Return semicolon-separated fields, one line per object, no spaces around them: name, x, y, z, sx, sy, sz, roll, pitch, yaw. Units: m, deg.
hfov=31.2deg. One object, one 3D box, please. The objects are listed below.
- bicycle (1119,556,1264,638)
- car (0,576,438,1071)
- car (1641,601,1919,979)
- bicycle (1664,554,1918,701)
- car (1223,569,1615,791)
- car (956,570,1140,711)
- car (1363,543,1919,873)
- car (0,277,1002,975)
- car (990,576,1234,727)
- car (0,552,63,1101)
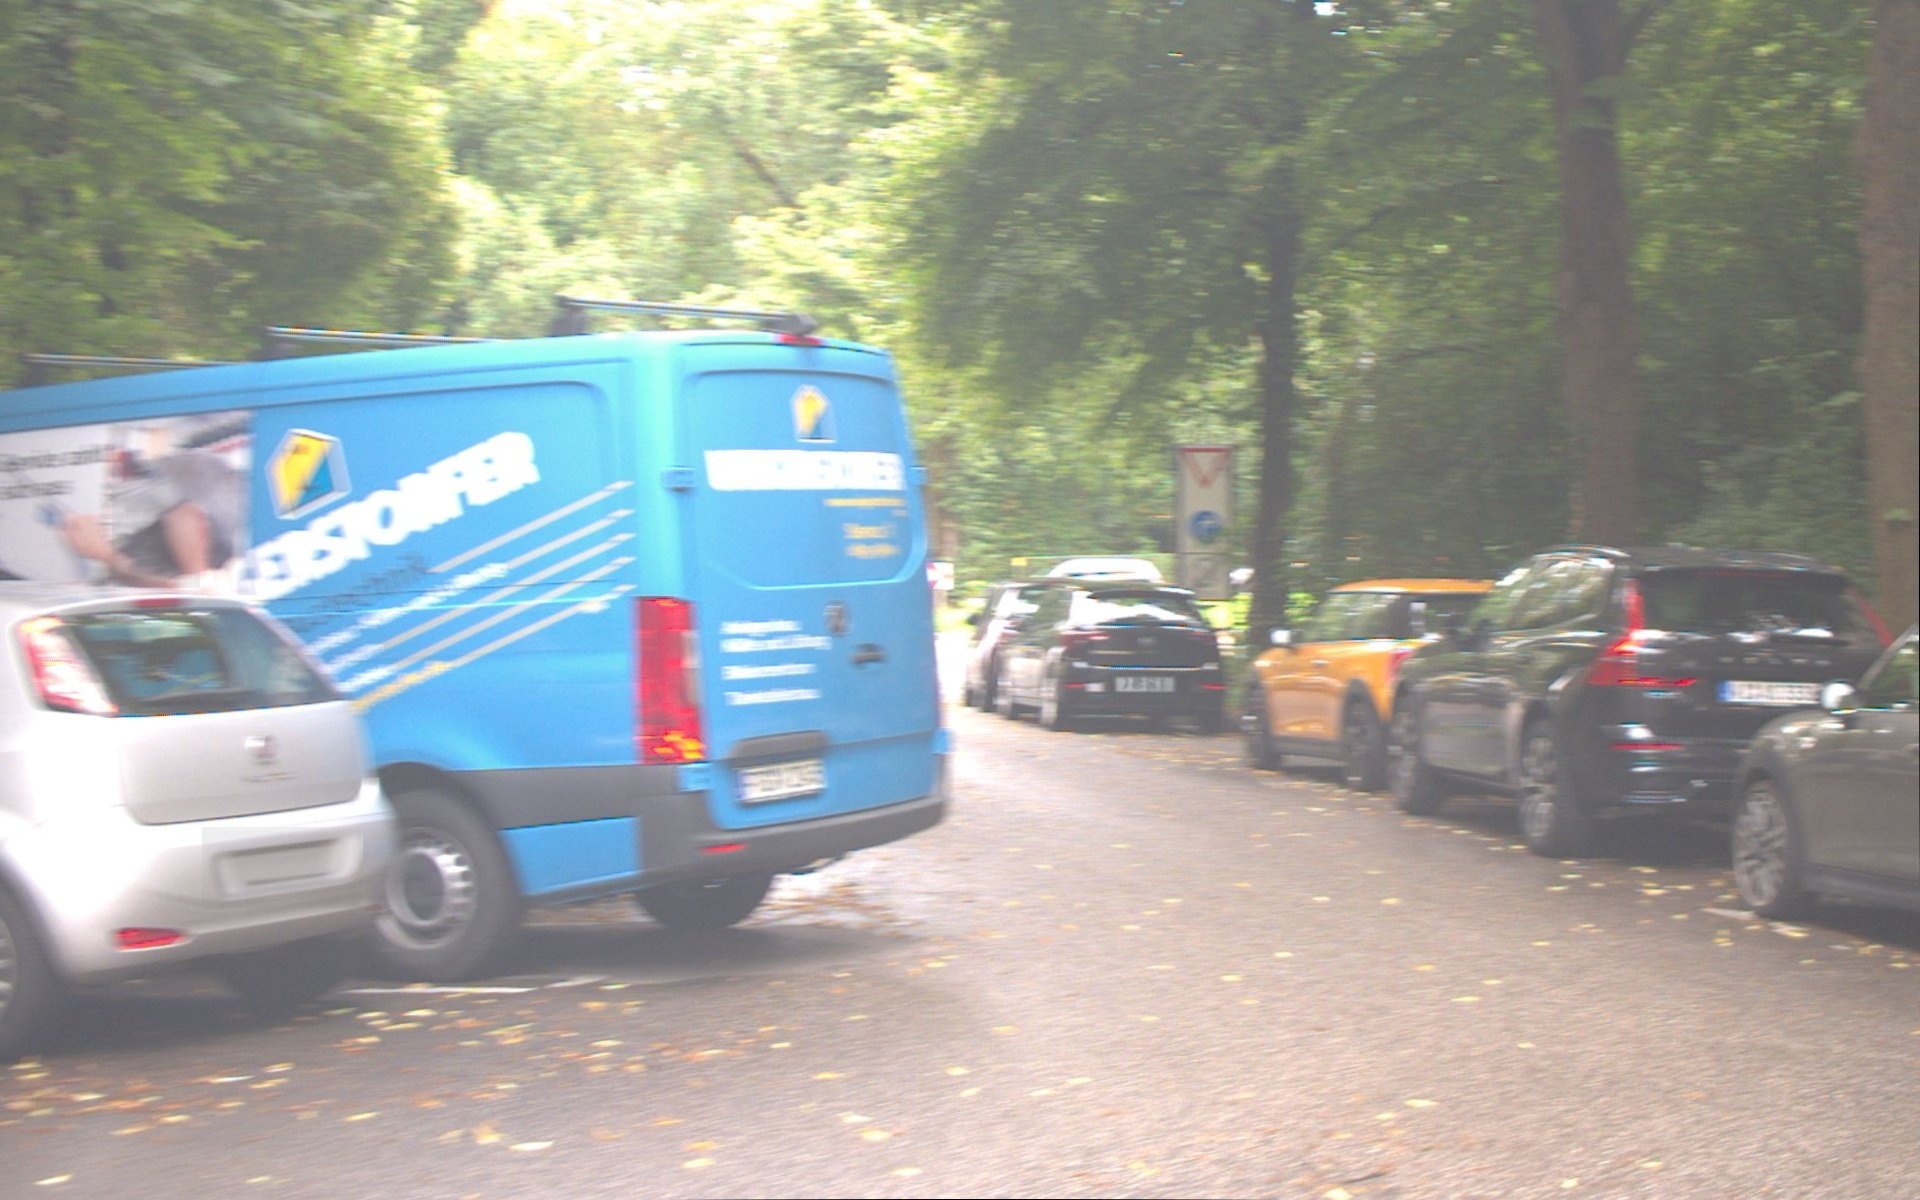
bicycle;2.814;-0.033;41.860;1.752;0.978;0.273;-1;1;2
car;-3.701;0.678;11.564;3.547;1.428;1.641;-1;0;29
car;4.514;0.736;14.335;1.898;1.408;4.430;-1;1;-8
bicycle;6.304;0.200;26.080;1.829;1.080;0.547;-1;1;-15
car;3.155;0.505;24.368;1.618;1.408;3.781;0;1;-11
car;0.938;0.417;38.307;1.647;1.469;3.644;0;1;-5
car;3.714;0.498;19.372;1.831;1.623;4.526;0;1;-7
car;-2.779;0.167;13.759;5.486;2.346;2.062;-2;0;28
car;1.444;0.468;34.081;1.681;1.353;4.010;1;1;-8
car;-4.877;0.763;9.847;4.277;1.508;1.801;-4;-1;27
